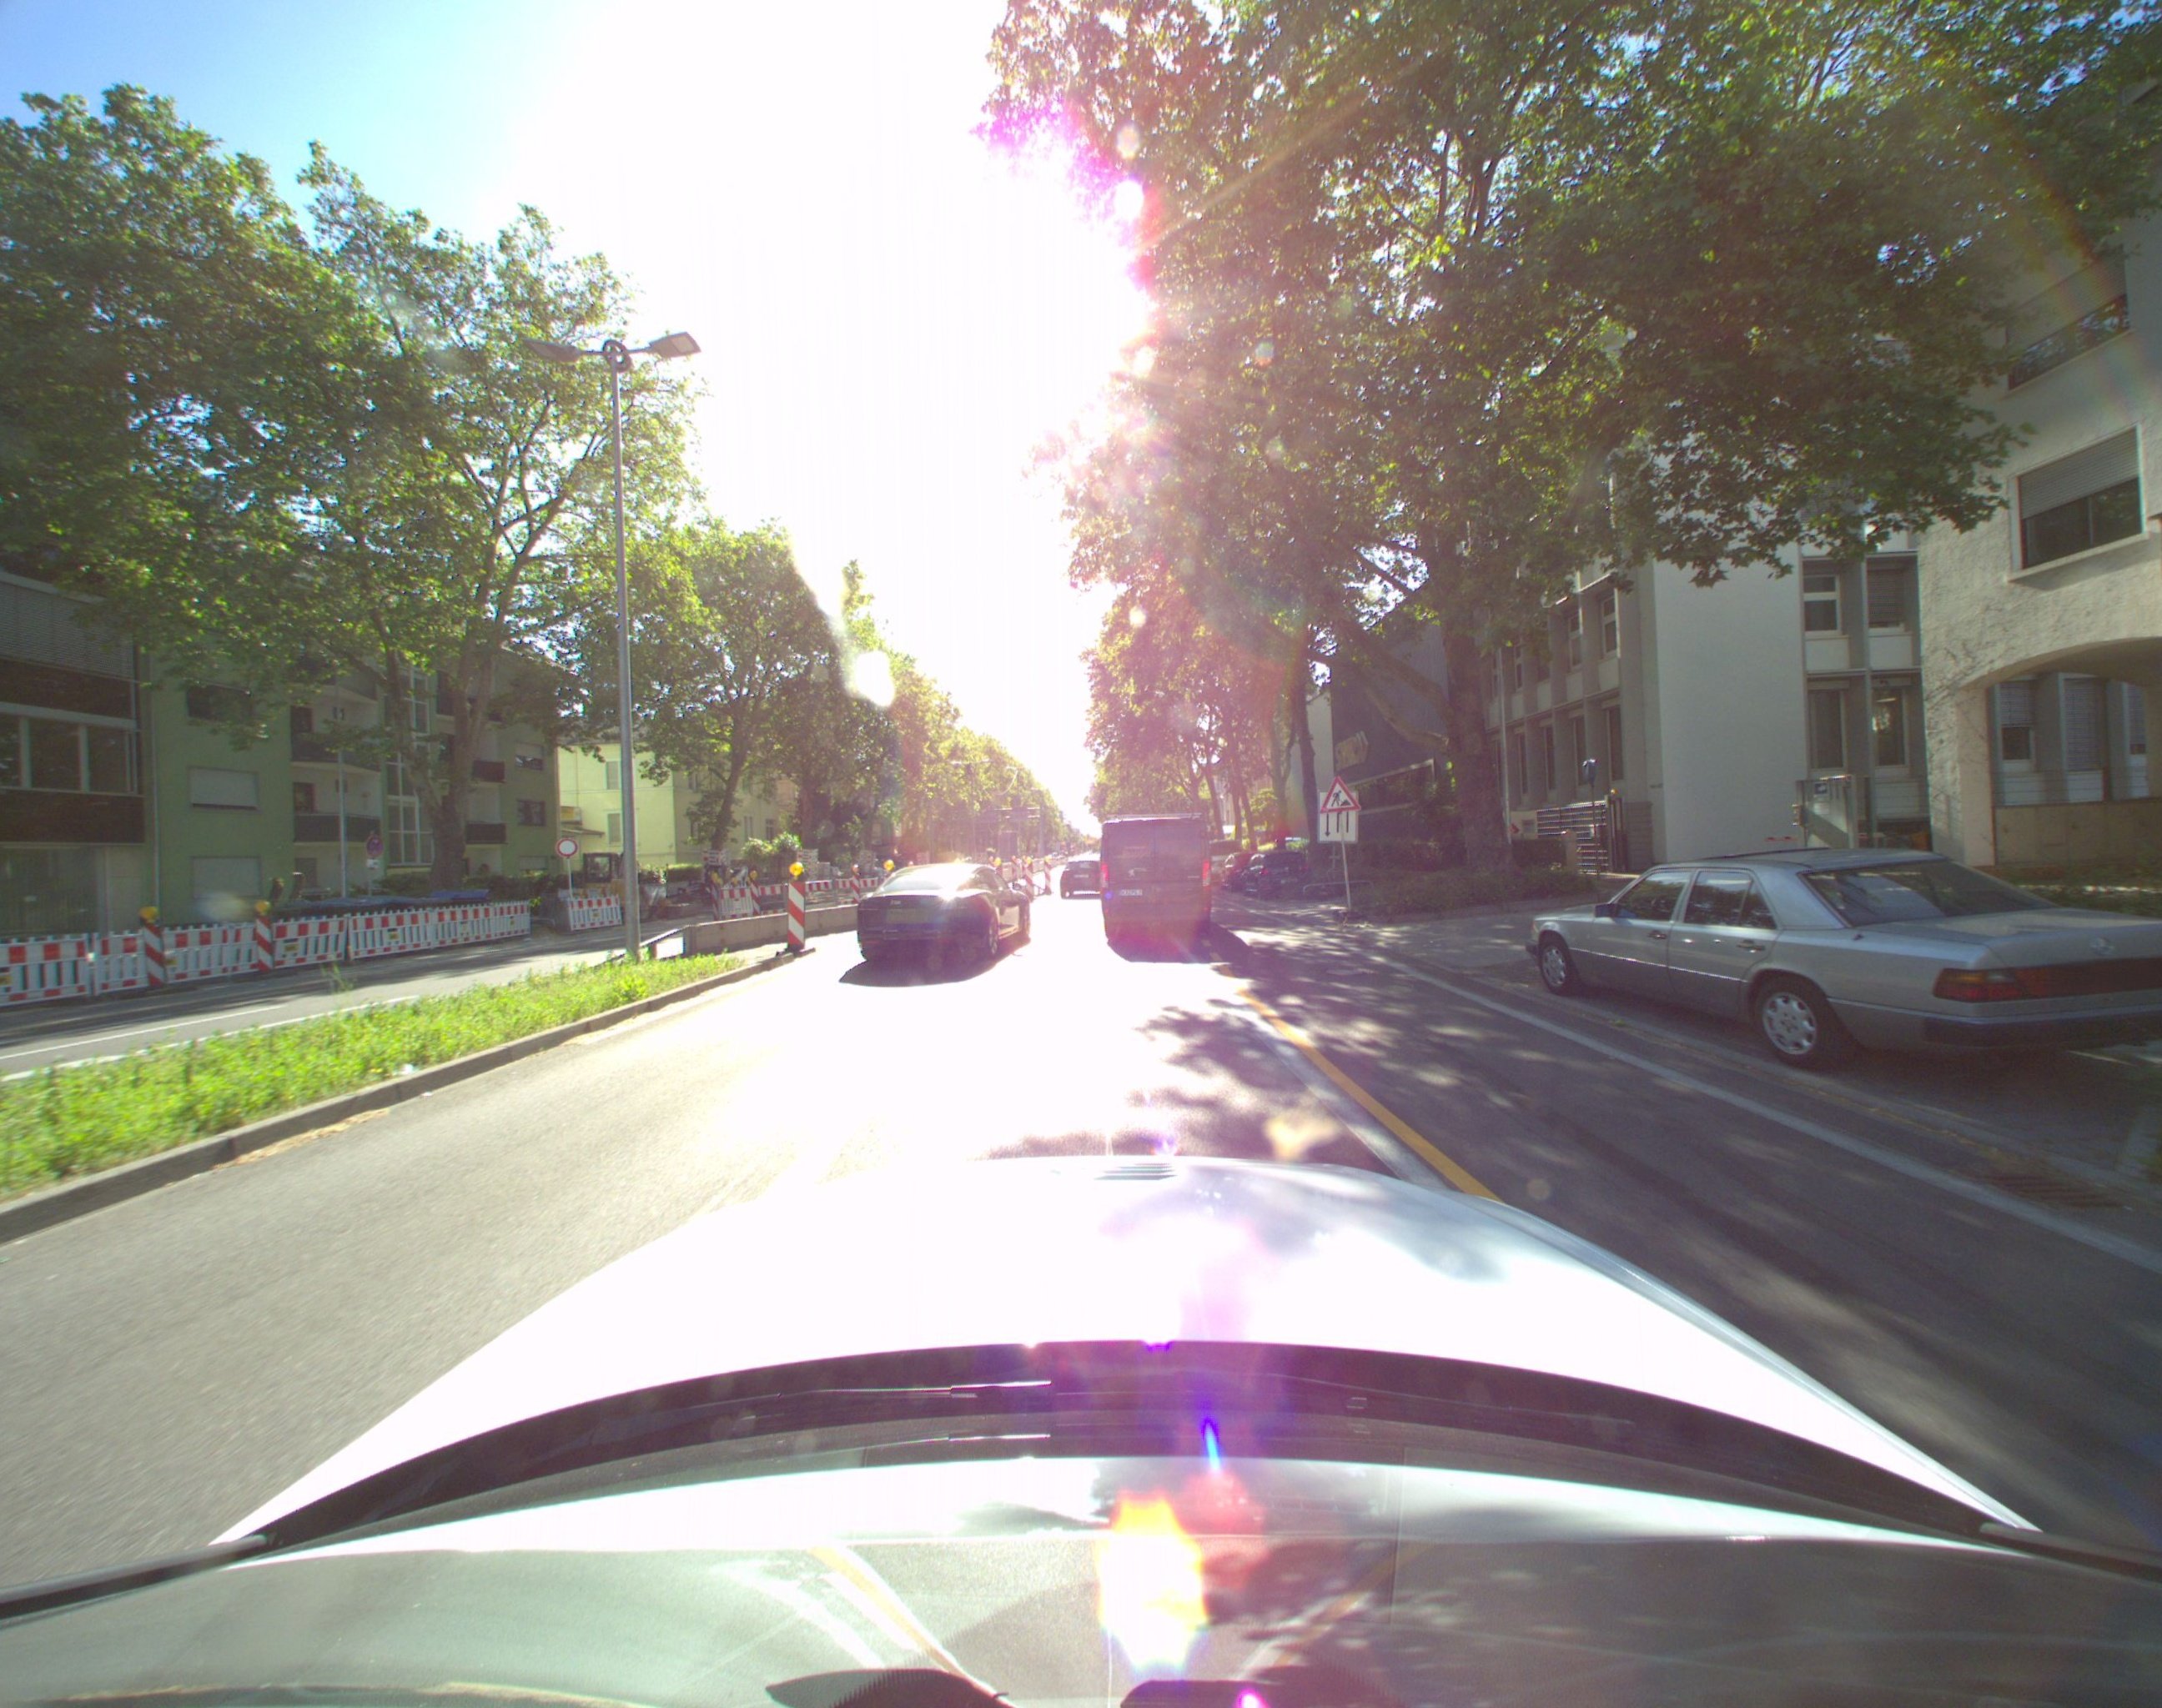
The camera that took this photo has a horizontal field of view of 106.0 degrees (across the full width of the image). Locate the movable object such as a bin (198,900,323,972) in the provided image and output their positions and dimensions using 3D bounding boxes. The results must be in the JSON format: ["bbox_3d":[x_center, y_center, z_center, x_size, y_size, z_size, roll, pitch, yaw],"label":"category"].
[{"bbox_3d":[-17.164,1.696,17.074,1.404,1.338,1.158,-2,0,3],"label":"movable object such as a bin"}]

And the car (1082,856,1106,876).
[{"bbox_3d":[0.905,0.771,54.759,1.415,1.225,3.440,-2,0,2],"label":"car"}]

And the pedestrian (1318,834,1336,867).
[{"bbox_3d":[12.527,-0.189,41.464,0.704,1.648,0.675,0,2,-2],"label":"pedestrian"}]

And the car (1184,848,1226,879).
[{"bbox_3d":[6.583,0.492,43.589,1.740,1.477,4.104,-3,0,3],"label":"car"}]

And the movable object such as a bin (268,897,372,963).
[{"bbox_3d":[-16.949,1.678,18.159,1.404,1.338,0.936,-2,0,3],"label":"movable object such as a bin"}]

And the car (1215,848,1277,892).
[{"bbox_3d":[6.244,0.567,31.152,1.651,1.540,4.130,-1,0,2],"label":"car"}]

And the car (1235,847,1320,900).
[{"bbox_3d":[6.196,0.579,26.161,1.757,1.508,4.252,-2,0,1],"label":"car"}]

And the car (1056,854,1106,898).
[{"bbox_3d":[-0.023,0.777,30.878,1.741,1.407,4.000,-1,2,-1],"label":"car"}]

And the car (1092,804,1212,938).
[{"bbox_3d":[1.360,0.289,16.522,2.087,2.355,3.936,-1,0,2],"label":"car"}]

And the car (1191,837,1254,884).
[{"bbox_3d":[6.480,0.273,37.842,2.019,1.946,5.274,-2,0,1],"label":"car"}]

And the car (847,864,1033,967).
[{"bbox_3d":[-2.089,0.879,13.534,1.916,1.412,4.631,0,-1,5],"label":"car"}]

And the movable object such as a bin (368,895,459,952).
[{"bbox_3d":[-16.755,1.718,20.493,0.976,1.271,1.541,-2,0,1],"label":"movable object such as a bin"}]

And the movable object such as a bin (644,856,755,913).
[{"bbox_3d":[-17.056,1.261,36.799,1.985,2.278,5.604,-3,0,4],"label":"movable object such as a bin"}]

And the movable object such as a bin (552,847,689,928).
[{"bbox_3d":[-17.090,1.145,30.617,2.141,2.706,5.351,-2,0,-2],"label":"movable object such as a bin"}]

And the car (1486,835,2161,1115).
[{"bbox_3d":[5.623,0.654,6.934,1.846,1.479,4.941,-2,0,0],"label":"car"}]

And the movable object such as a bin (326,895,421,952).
[{"bbox_3d":[-17.768,1.733,20.506,0.976,1.271,1.541,-2,0,1],"label":"movable object such as a bin"}]

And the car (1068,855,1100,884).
[{"bbox_3d":[0.184,0.772,42.127,1.542,1.425,3.555,-2,0,0],"label":"car"}]

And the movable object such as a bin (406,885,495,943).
[{"bbox_3d":[-17.232,1.622,22.321,1.638,1.423,1.253,-2,0,-25],"label":"movable object such as a bin"}]

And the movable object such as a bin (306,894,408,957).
[{"bbox_3d":[-17.040,1.665,19.194,1.404,1.338,1.069,-2,0,3],"label":"movable object such as a bin"}]

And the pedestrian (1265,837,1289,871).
[{"bbox_3d":[9.451,0.008,39.250,0.726,1.602,1.266,-2,0,-3],"label":"pedestrian"}]

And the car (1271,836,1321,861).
[{"bbox_3d":[16.251,-0.406,61.649,1.715,1.853,3.472,-1,0,-32],"label":"car"}]
